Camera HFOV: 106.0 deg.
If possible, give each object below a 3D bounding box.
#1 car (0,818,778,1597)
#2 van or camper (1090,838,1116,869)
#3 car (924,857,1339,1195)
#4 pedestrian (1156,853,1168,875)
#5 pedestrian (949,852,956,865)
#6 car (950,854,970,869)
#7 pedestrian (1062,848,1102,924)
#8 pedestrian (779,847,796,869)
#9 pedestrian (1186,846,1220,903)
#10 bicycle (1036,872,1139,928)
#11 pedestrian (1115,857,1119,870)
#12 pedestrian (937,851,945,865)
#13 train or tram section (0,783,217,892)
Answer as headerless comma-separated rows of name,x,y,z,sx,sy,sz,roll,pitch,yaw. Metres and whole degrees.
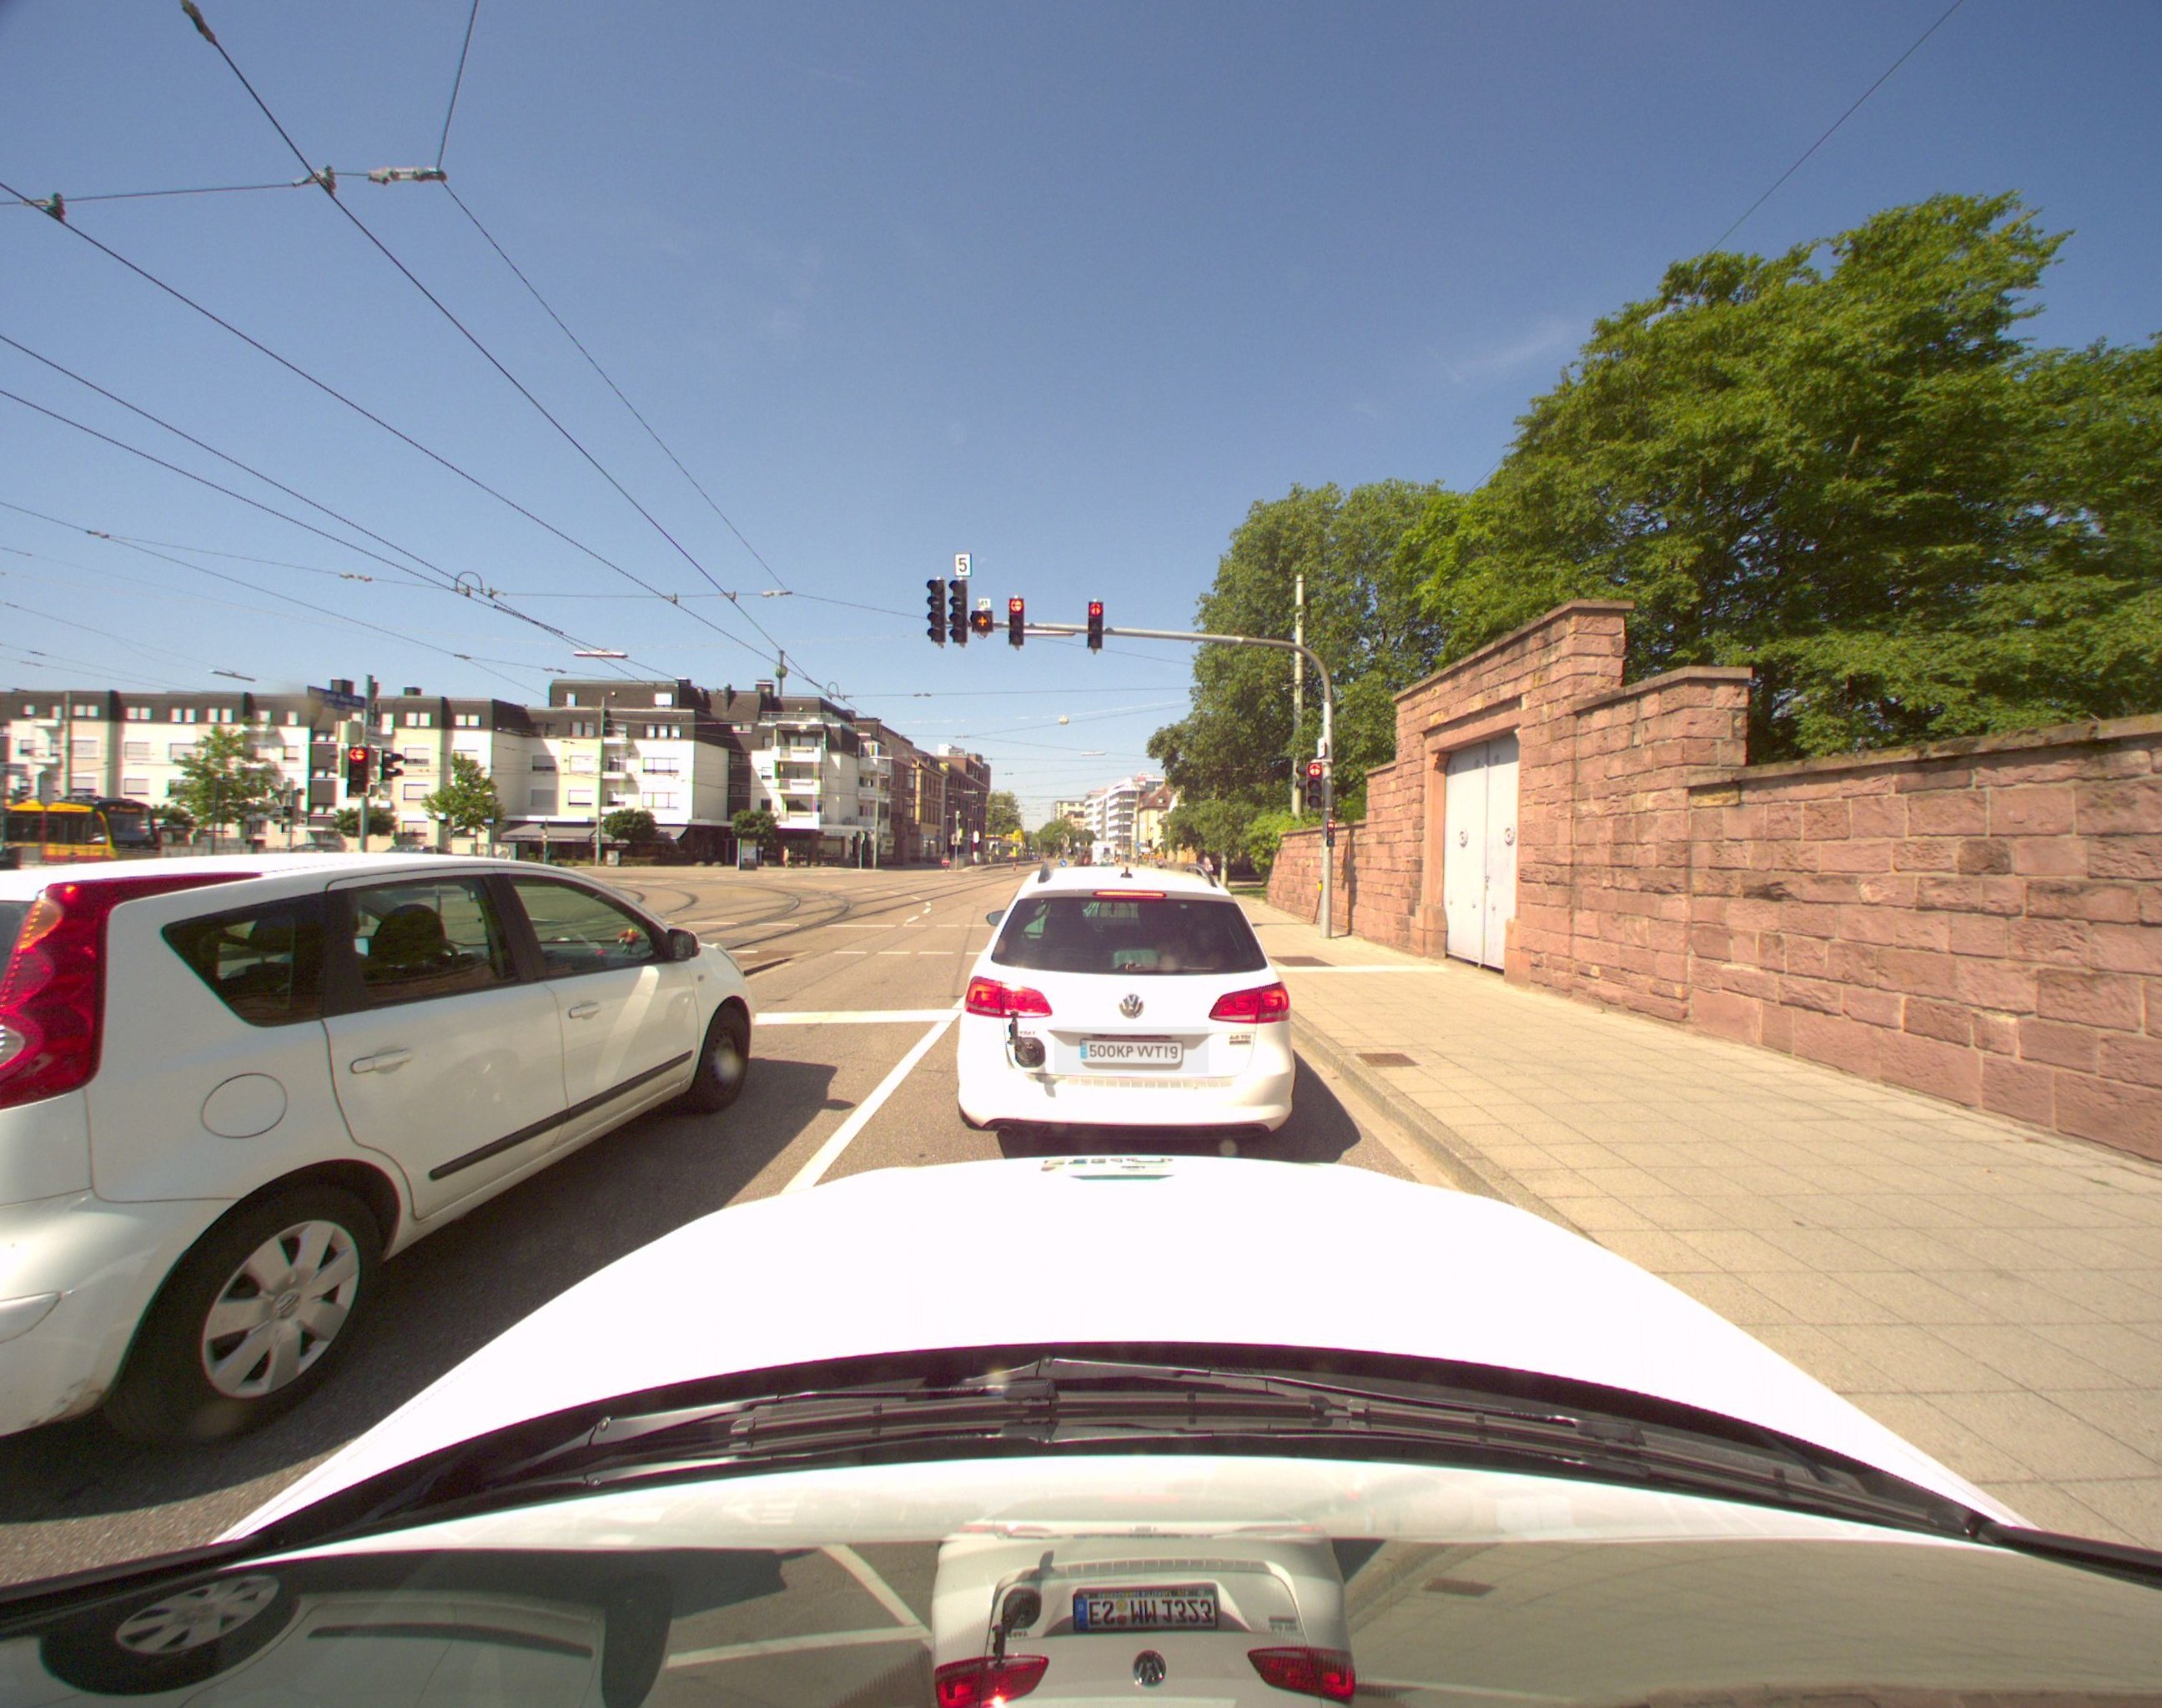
car,-2.907,0.697,3.543,1.636,1.566,3.805,-1,1,1
van or camper,2.309,0.015,84.954,2.557,3.093,5.705,-1,-1,2
car,0.274,0.751,5.545,1.801,1.448,4.001,0,0,1
pedestrian,6.557,0.844,65.667,0.859,1.743,0.975,-1,-1,0
pedestrian,-17.469,0.644,110.450,0.860,1.743,0.973,-1,-1,-4
car,-13.756,0.910,92.831,1.736,1.618,3.997,-1,-1,-1
pedestrian,0.018,0.654,17.283,0.746,1.571,0.673,-1,0,-10
pedestrian,-23.713,0.345,65.726,0.853,1.743,0.981,-2,-2,29
pedestrian,3.618,0.595,24.212,0.947,1.651,0.977,-1,-1,8
bicycle,0.129,0.935,16.730,2.020,1.090,0.707,1,0,-12
pedestrian,6.208,1.612,139.623,0.687,2.325,1.233,-1,-1,3
pedestrian,-17.885,0.537,104.277,0.860,1.743,0.973,-1,-1,-4
train or tram section,-54.718,-0.680,41.519,16.149,5.150,4.735,-1,-1,0
